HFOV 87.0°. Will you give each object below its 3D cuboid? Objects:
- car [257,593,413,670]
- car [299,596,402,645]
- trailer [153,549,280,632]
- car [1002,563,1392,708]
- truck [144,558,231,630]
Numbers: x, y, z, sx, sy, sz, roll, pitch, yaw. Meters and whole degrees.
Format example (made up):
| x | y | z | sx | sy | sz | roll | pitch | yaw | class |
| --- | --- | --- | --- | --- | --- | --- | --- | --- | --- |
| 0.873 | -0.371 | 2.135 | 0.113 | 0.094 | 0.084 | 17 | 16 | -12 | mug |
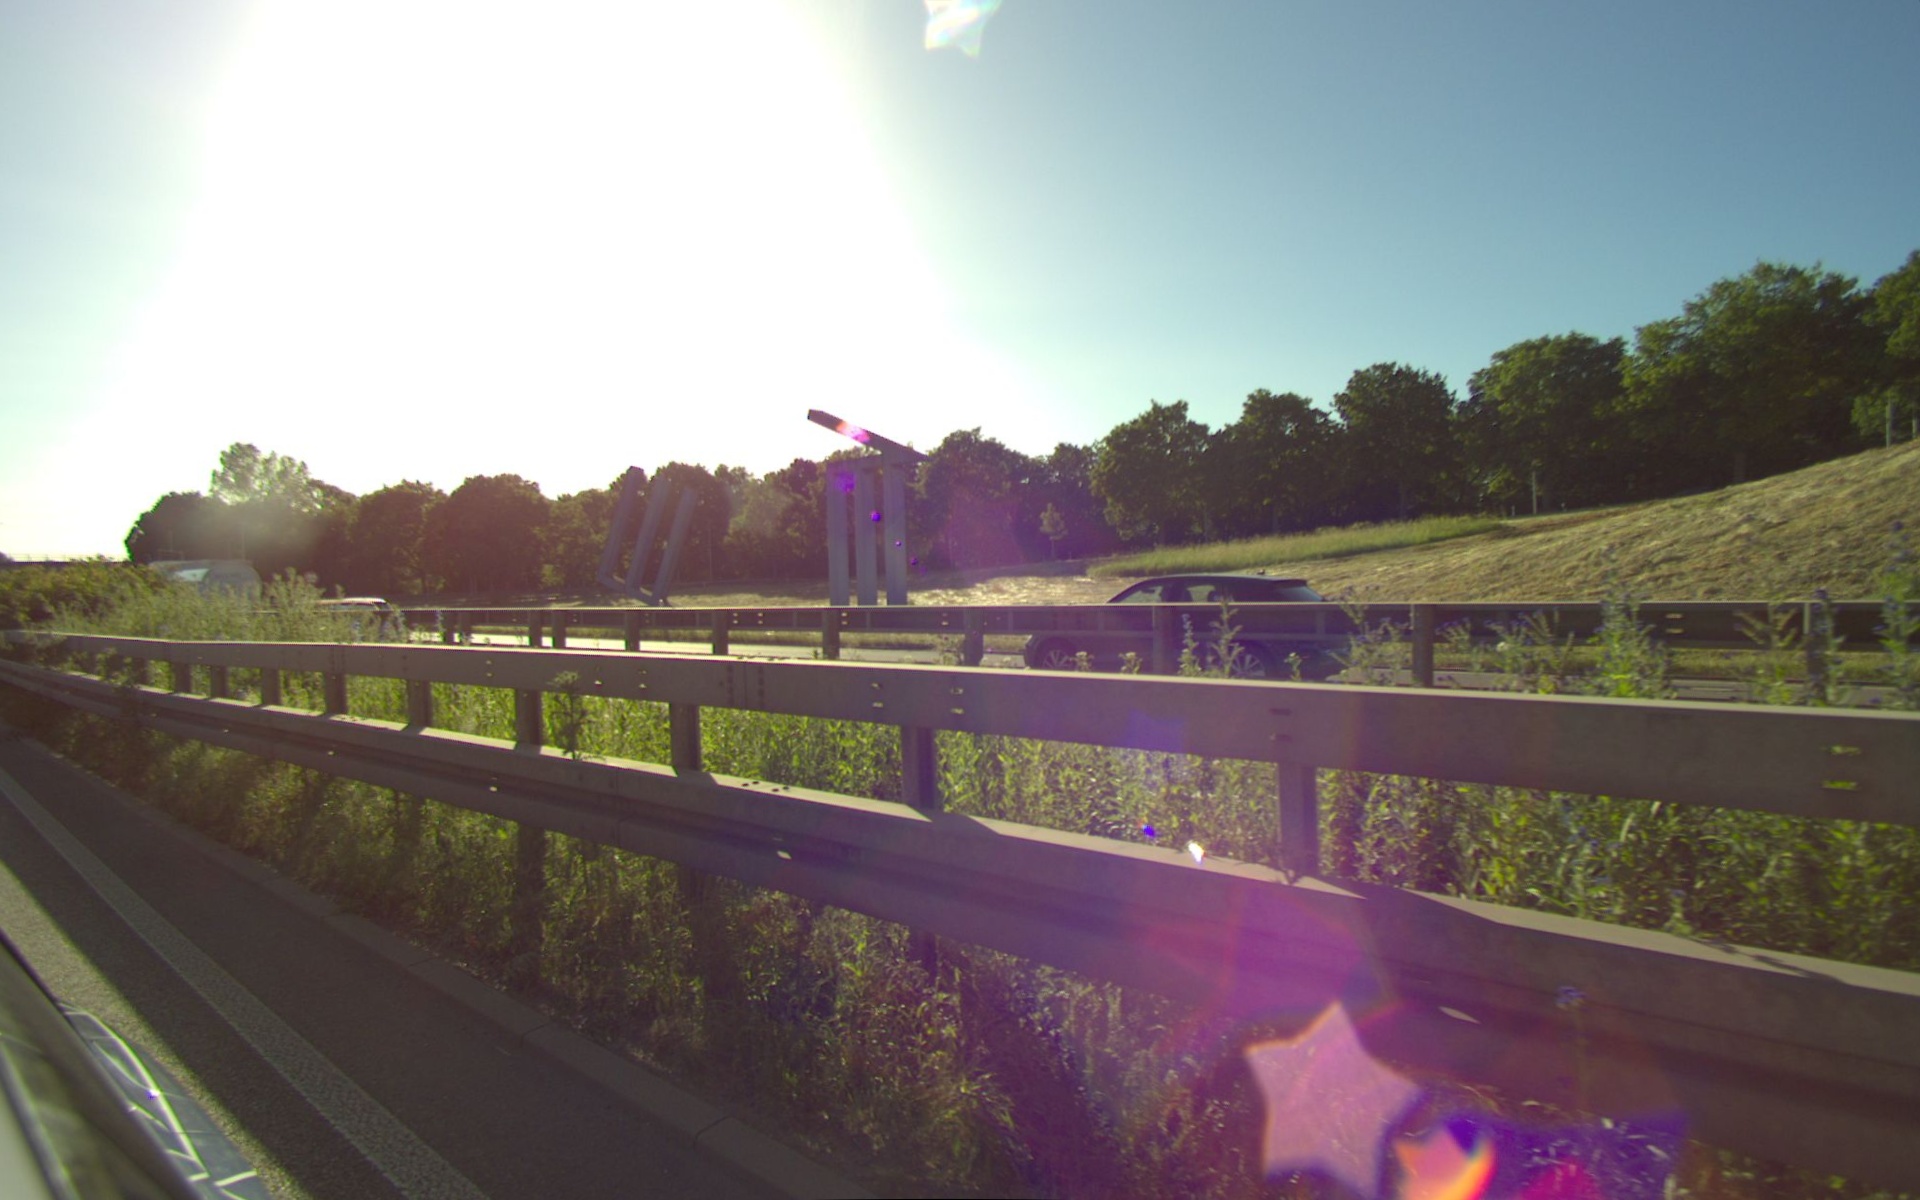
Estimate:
| x | y | z | sx | sy | sz | roll | pitch | yaw | class |
| --- | --- | --- | --- | --- | --- | --- | --- | --- | --- |
| -13.557 | 0.643 | 21.865 | 4.109 | 1.454 | 1.742 | -1 | 1 | 42 | car |
| -19.890 | 0.656 | 32.942 | 4.109 | 1.454 | 1.742 | -1 | 1 | 42 | car |
| -37.104 | -0.384 | 50.223 | 12.204 | 3.685 | 2.746 | -1 | 1 | 43 | trailer |
| 2.811 | 0.385 | 12.661 | 4.455 | 1.517 | 1.730 | -1 | 0 | 41 | car |
| -41.473 | -0.315 | 54.294 | 5.323 | 3.685 | 2.746 | -1 | 1 | 43 | truck |
